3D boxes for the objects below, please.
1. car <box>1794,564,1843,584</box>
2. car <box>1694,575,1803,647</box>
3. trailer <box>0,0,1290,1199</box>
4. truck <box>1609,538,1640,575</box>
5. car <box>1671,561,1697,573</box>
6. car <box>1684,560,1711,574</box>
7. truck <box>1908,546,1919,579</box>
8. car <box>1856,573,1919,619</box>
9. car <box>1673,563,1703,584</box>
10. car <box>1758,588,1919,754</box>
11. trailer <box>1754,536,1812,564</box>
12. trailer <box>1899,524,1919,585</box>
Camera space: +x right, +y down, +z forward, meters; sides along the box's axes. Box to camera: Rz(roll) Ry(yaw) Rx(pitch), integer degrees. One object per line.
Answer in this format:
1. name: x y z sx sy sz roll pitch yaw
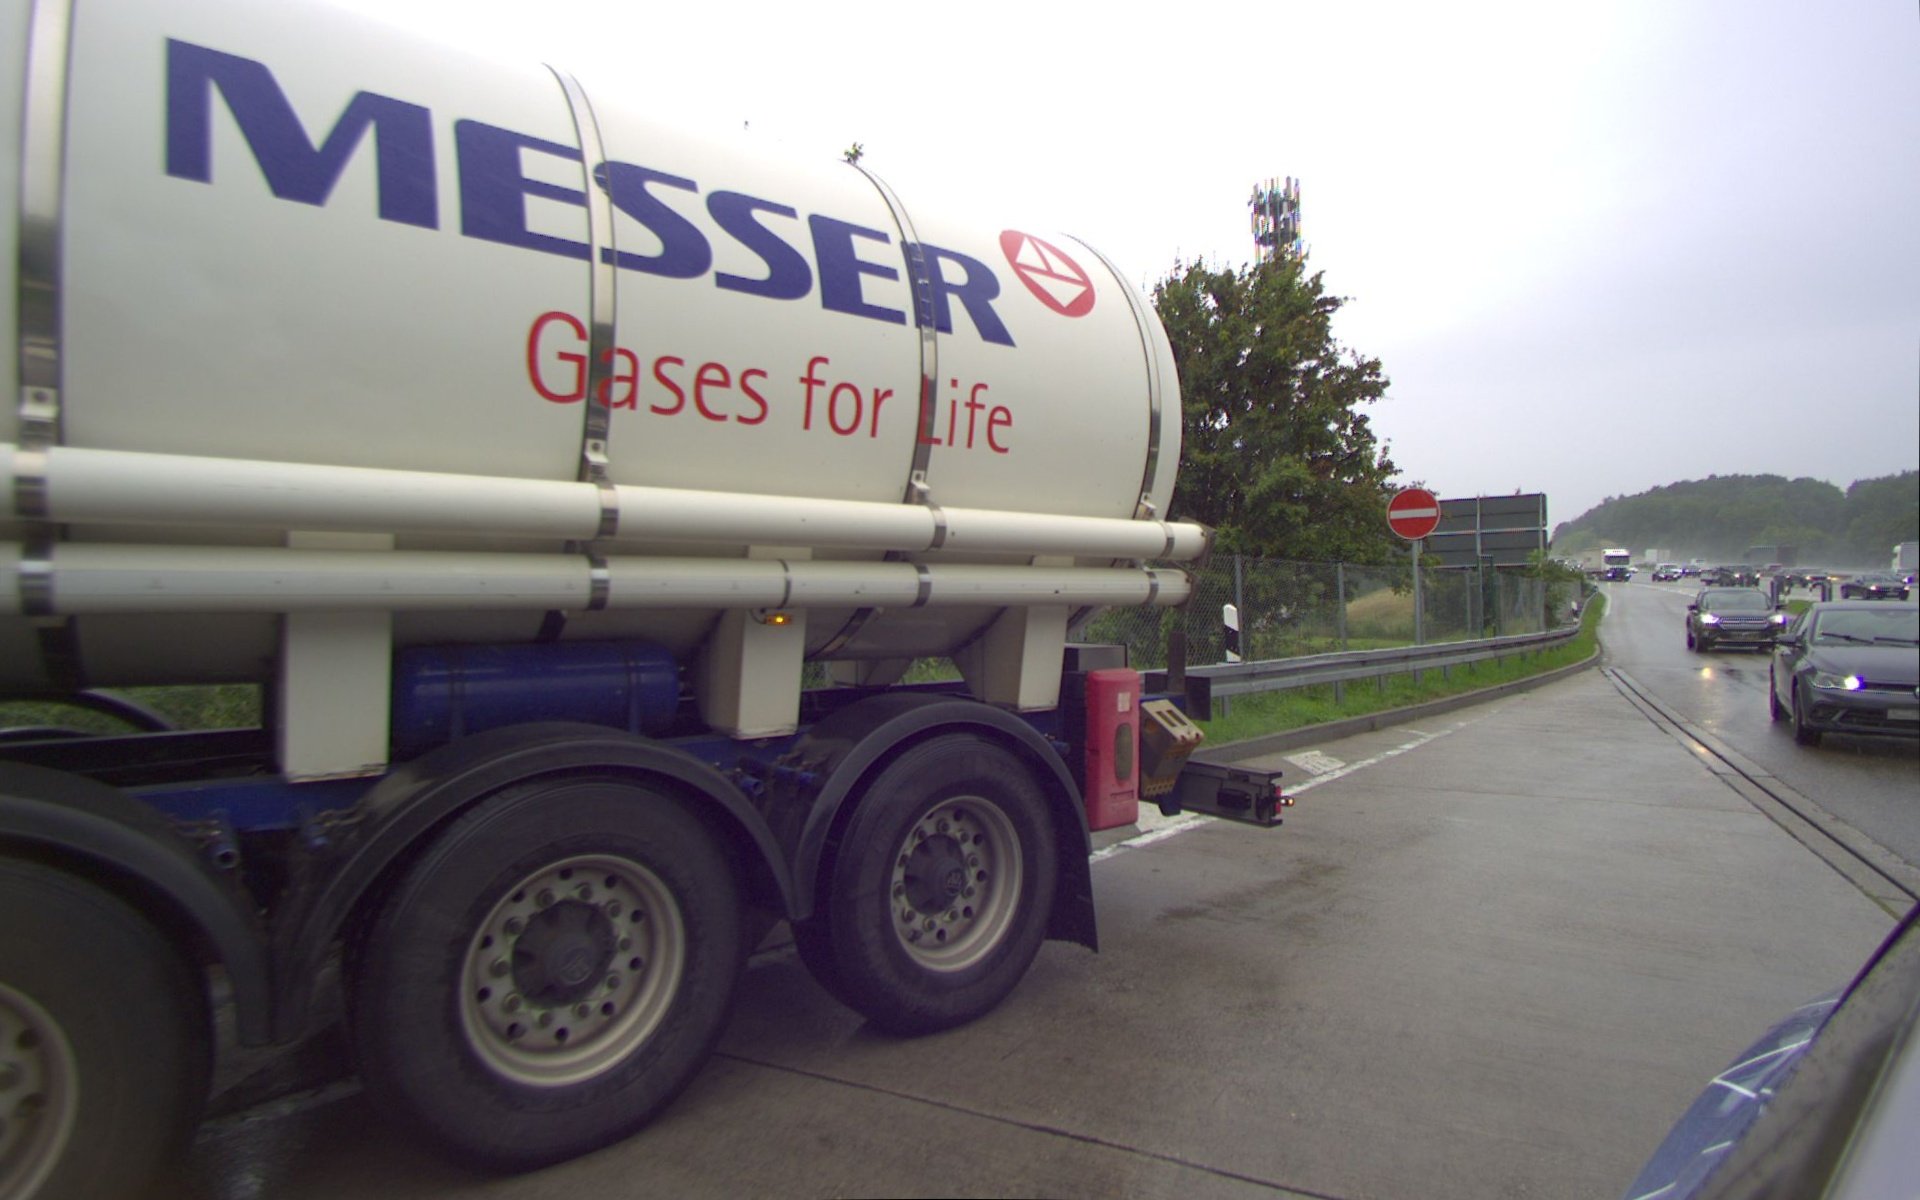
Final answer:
1. car: 71.849 -2.126 84.773 1.766 1.579 4.071 0 0 20
2. car: 20.331 0.235 26.232 1.798 1.560 3.953 -5 -1 33
3. trailer: -3.185 -0.242 2.184 10.131 3.265 1.985 -1 0 -37
4. truck: 79.610 -5.163 121.322 2.576 4.197 5.176 -4 -1 30
5. car: 92.752 -4.227 129.694 1.777 1.527 3.969 0 1 23
6. car: 98.166 -4.400 134.745 1.977 1.835 3.969 0 1 23
7. truck: 107.243 -4.310 111.228 2.691 3.580 4.726 -5 -2 22
8. car: 50.917 -0.257 55.211 1.900 2.038 3.966 -7 0 26
9. car: 81.978 -3.029 114.010 1.900 2.038 3.966 -7 0 26
10. car: 9.879 0.623 10.780 1.658 1.420 4.214 -1 1 32
11. trailer: 127.662 -7.692 157.196 3.002 3.859 13.311 -2 0 22
12. trailer: 55.072 -2.530 53.695 2.662 3.548 15.008 -4 0 24
